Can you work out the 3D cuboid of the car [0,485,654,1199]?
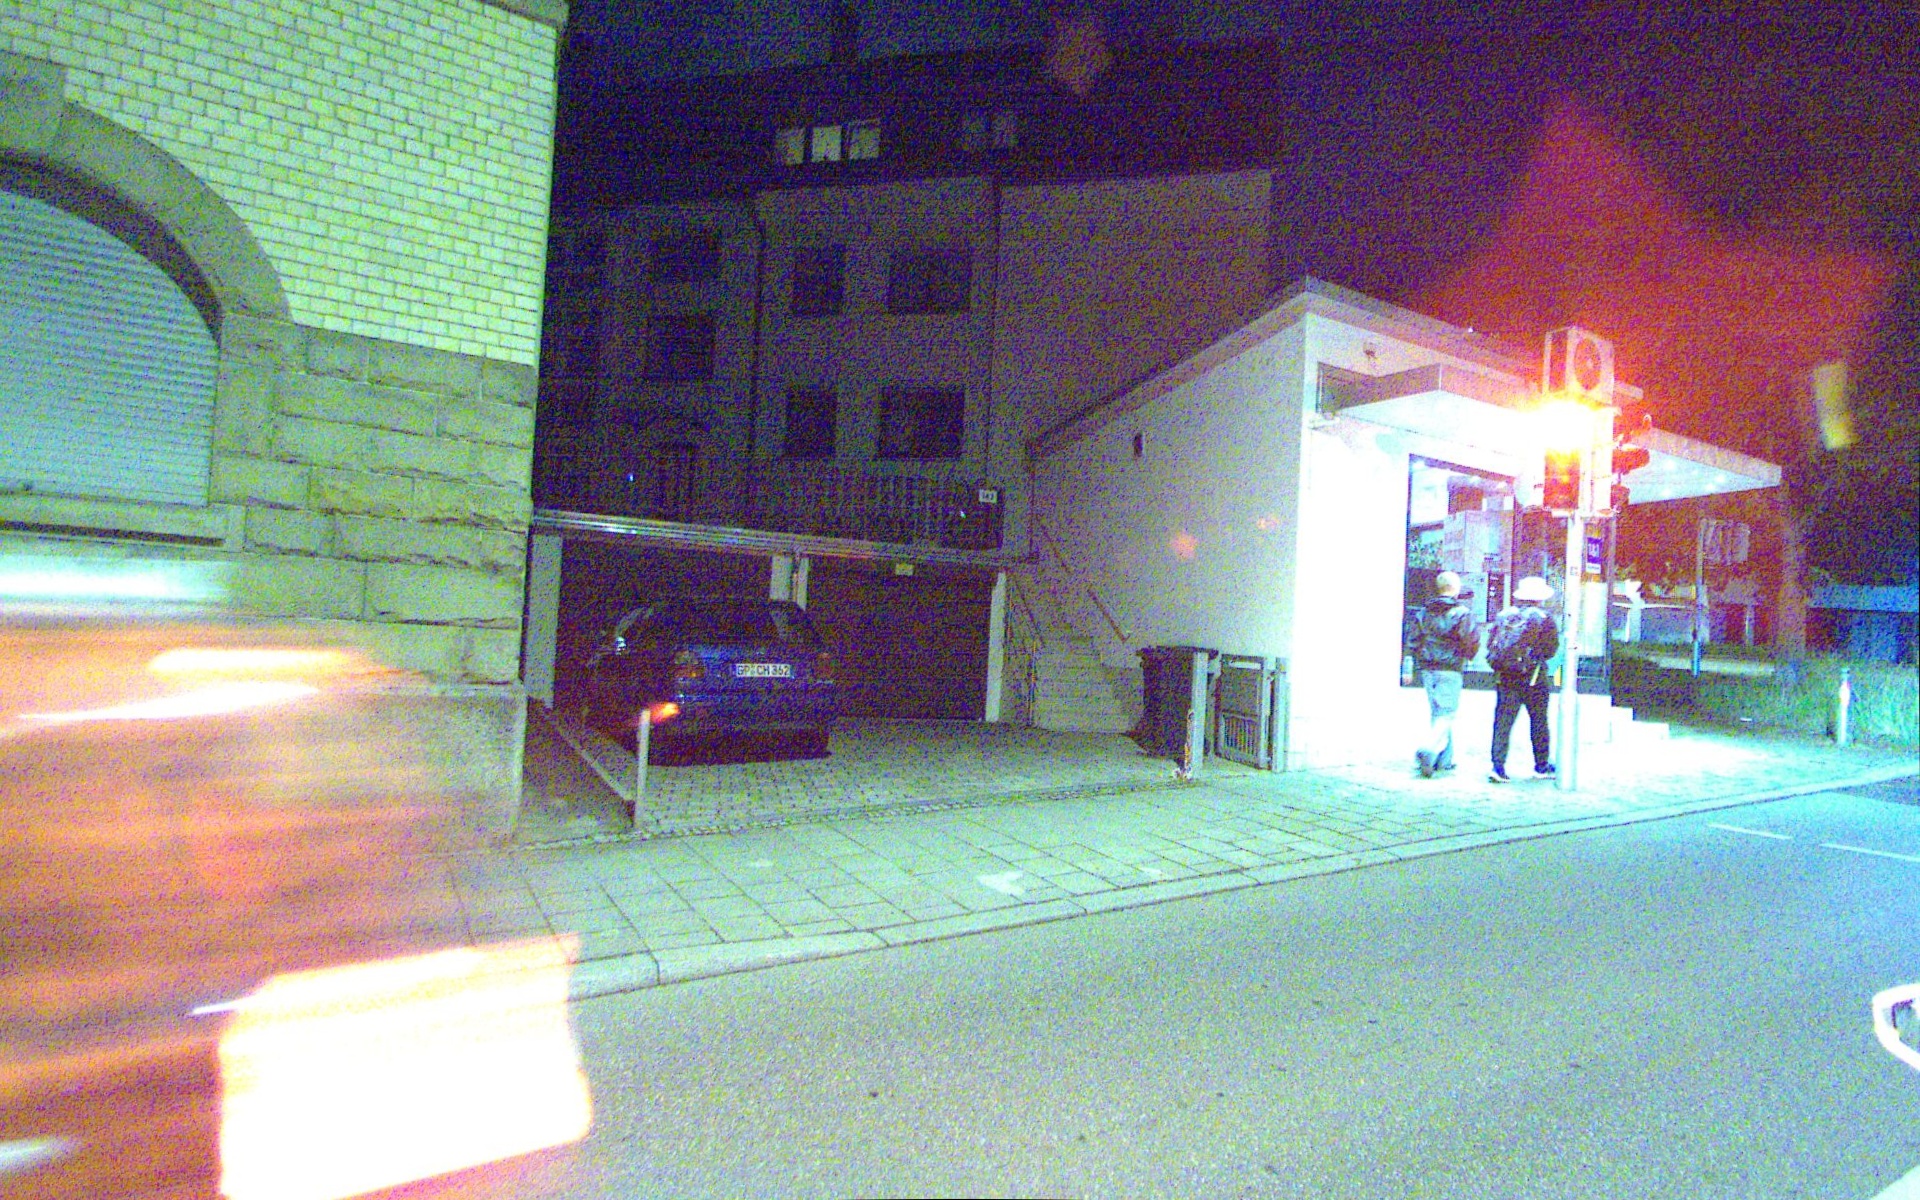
[{"bbox_3d":[-2.197,0.633,1.002,3.355,1.521,1.574,1,0,-30],"label":"car"}]

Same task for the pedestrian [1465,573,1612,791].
[{"bbox_3d":[5.028,0.681,8.729,1.017,1.768,0.672,2,0,-31],"label":"pedestrian"}]

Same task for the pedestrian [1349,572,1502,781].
[{"bbox_3d":[4.206,0.660,9.075,1.091,1.768,0.738,2,0,-31],"label":"pedestrian"}]

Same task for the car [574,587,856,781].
[{"bbox_3d":[-2.454,0.651,9.501,1.655,1.470,3.341,2,-1,-31],"label":"car"}]

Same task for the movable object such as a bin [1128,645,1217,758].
[{"bbox_3d":[2.115,0.998,10.031,0.643,1.063,0.639,2,0,-12],"label":"movable object such as a bin"}]
